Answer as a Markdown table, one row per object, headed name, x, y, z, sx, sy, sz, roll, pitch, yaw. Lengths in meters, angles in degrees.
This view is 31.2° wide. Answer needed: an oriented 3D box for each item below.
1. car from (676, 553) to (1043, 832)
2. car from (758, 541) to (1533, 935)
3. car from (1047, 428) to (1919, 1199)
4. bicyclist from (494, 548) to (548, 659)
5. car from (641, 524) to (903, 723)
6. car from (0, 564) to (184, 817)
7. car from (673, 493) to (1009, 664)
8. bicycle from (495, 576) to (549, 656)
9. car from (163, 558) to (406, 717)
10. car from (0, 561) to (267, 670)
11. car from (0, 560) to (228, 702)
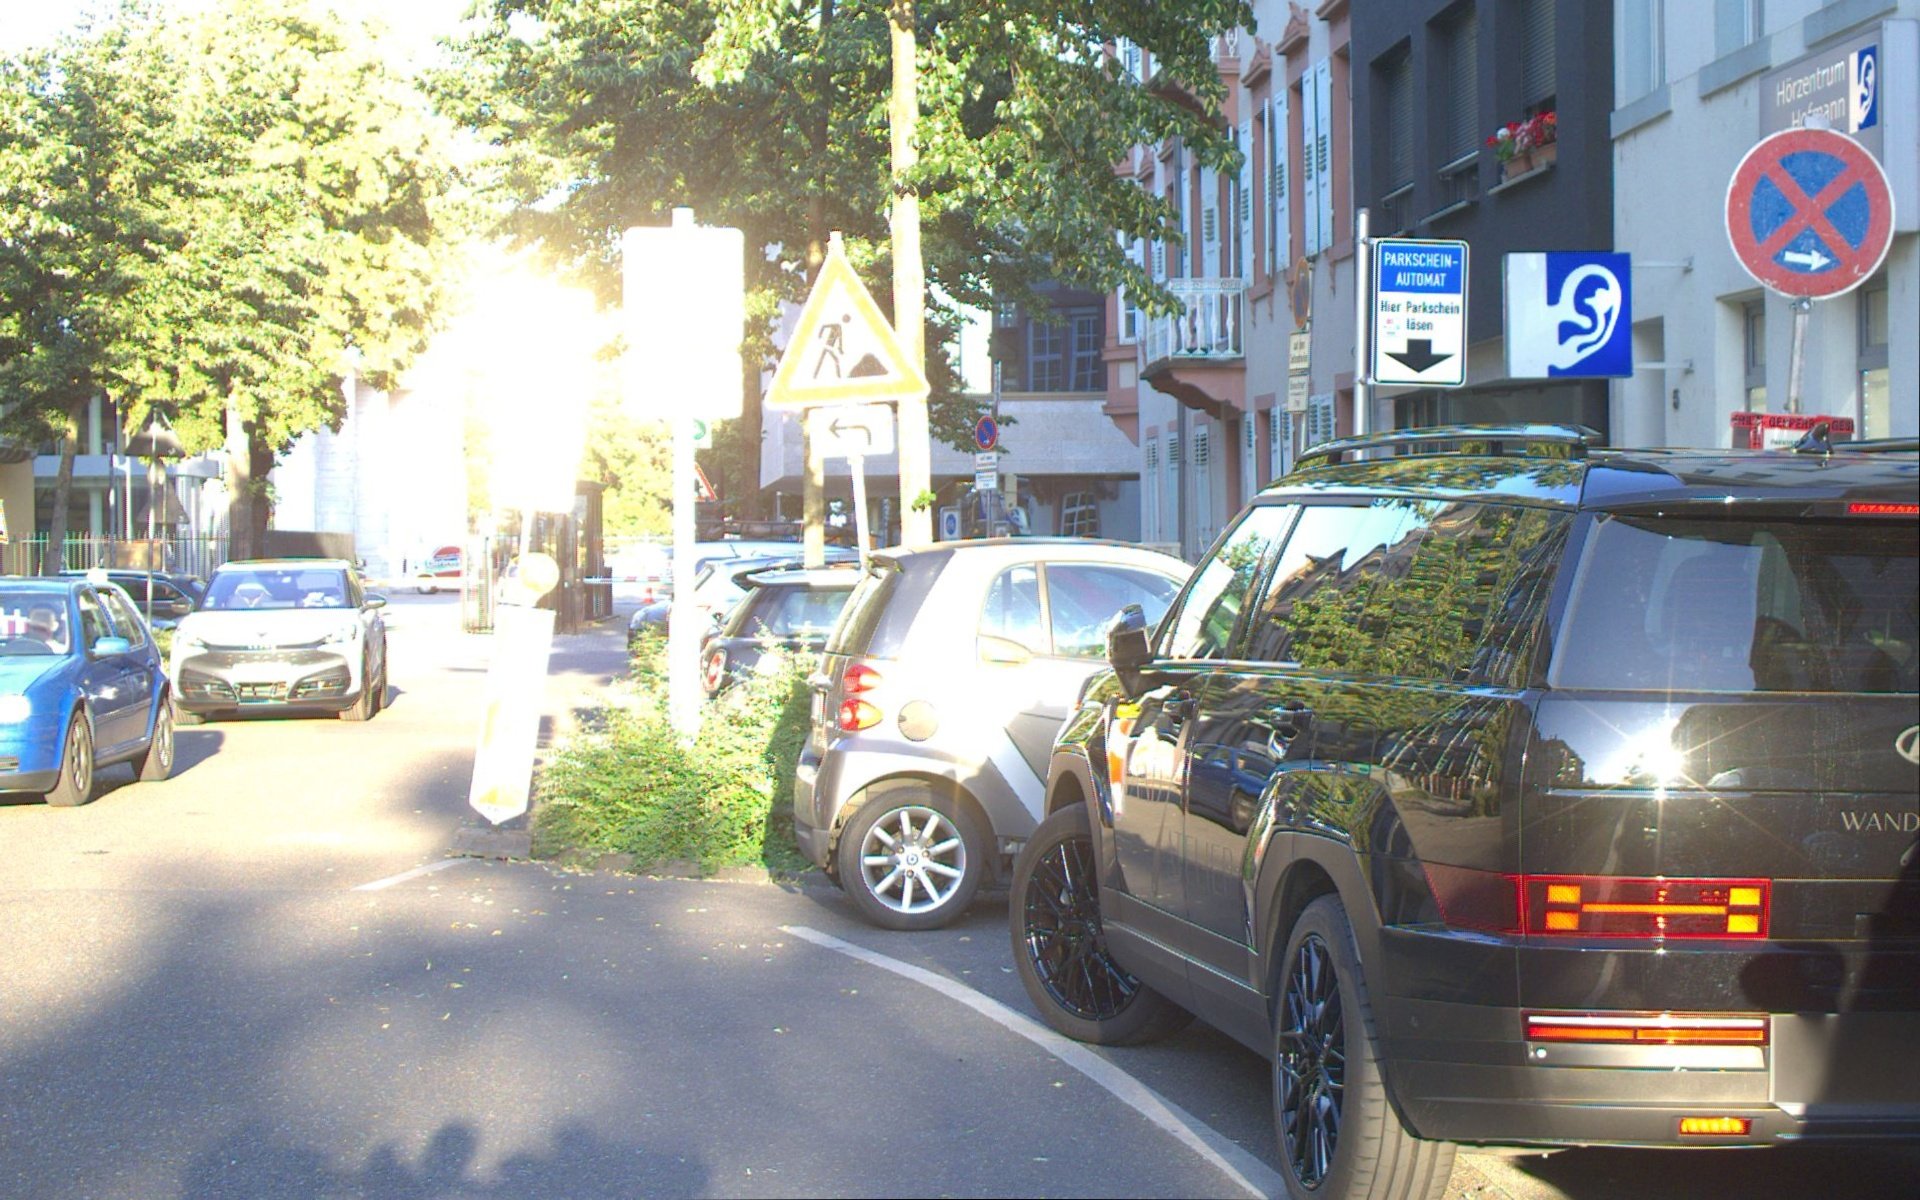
| name | x | y | z | sx | sy | sz | roll | pitch | yaw |
| --- | --- | --- | --- | --- | --- | --- | --- | --- | --- |
| car | -0.784 | 0.542 | 22.914 | 1.993 | 1.662 | 4.510 | 1 | 0 | -7 |
| car | 0.712 | 0.546 | 14.249 | 2.968 | 1.531 | 1.434 | 1 | 0 | -8 |
| car | 1.466 | 0.518 | 8.648 | 1.824 | 1.689 | 4.370 | 1 | 0 | -7 |
| bicyclist | -6.780 | 0.050 | 53.131 | 0.780 | 1.690 | 1.007 | -1 | 0 | -7 |
| car | -2.056 | 0.222 | 36.127 | 2.264 | 1.760 | 4.510 | 5 | 0 | -7 |
| car | -6.233 | 0.510 | 21.718 | 1.838 | 1.436 | 4.332 | -1 | 0 | -2 |
| car | -1.422 | -0.274 | 42.027 | 3.987 | 2.007 | 2.000 | 0 | 1 | 0 |
| bicycle | -6.772 | 0.233 | 53.186 | 0.780 | 1.200 | 2.021 | -1 | 1 | -7 |
| car | -6.702 | 0.340 | 34.542 | 1.884 | 1.475 | 4.460 | 1 | 0 | -5 |
| car | -11.995 | 0.200 | 48.474 | 4.102 | 1.461 | 1.890 | 1 | 0 | -2 |
| car | -10.092 | 0.304 | 36.898 | 4.102 | 1.461 | 1.890 | 1 | 0 | -2 |
